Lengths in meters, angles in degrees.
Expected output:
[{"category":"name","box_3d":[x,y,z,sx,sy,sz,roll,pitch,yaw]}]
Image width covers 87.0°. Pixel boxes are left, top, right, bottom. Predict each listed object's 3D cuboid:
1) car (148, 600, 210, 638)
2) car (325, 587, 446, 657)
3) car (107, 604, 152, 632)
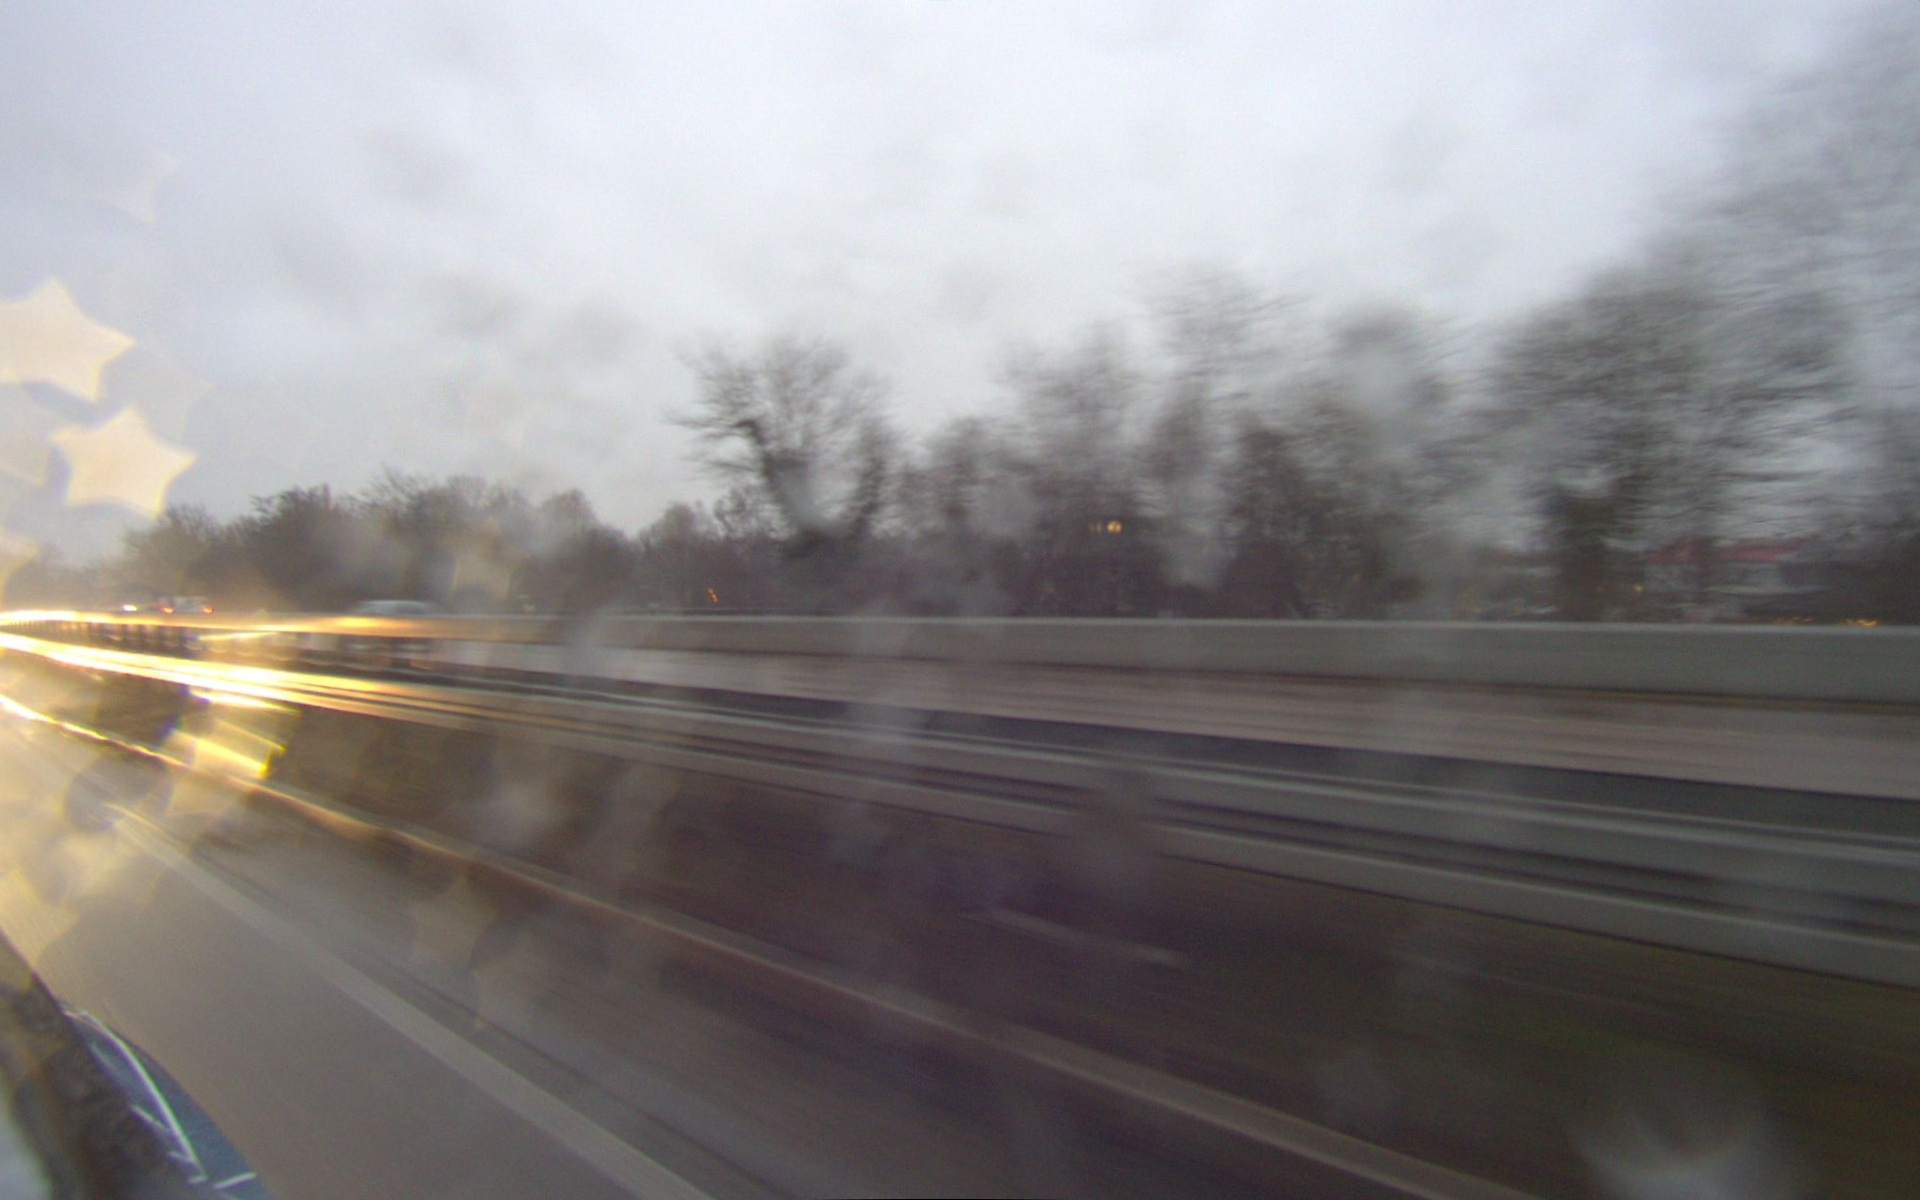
[{"category":"car","box_3d":[-41.619,0.973,53.886,4.302,1.929,1.826,-1,0,41]},{"category":"car","box_3d":[-17.112,0.621,30.062,4.302,1.929,1.826,-1,0,41]},{"category":"car","box_3d":[-57.994,1.240,70.623,3.992,1.817,1.826,-1,0,42]}]
